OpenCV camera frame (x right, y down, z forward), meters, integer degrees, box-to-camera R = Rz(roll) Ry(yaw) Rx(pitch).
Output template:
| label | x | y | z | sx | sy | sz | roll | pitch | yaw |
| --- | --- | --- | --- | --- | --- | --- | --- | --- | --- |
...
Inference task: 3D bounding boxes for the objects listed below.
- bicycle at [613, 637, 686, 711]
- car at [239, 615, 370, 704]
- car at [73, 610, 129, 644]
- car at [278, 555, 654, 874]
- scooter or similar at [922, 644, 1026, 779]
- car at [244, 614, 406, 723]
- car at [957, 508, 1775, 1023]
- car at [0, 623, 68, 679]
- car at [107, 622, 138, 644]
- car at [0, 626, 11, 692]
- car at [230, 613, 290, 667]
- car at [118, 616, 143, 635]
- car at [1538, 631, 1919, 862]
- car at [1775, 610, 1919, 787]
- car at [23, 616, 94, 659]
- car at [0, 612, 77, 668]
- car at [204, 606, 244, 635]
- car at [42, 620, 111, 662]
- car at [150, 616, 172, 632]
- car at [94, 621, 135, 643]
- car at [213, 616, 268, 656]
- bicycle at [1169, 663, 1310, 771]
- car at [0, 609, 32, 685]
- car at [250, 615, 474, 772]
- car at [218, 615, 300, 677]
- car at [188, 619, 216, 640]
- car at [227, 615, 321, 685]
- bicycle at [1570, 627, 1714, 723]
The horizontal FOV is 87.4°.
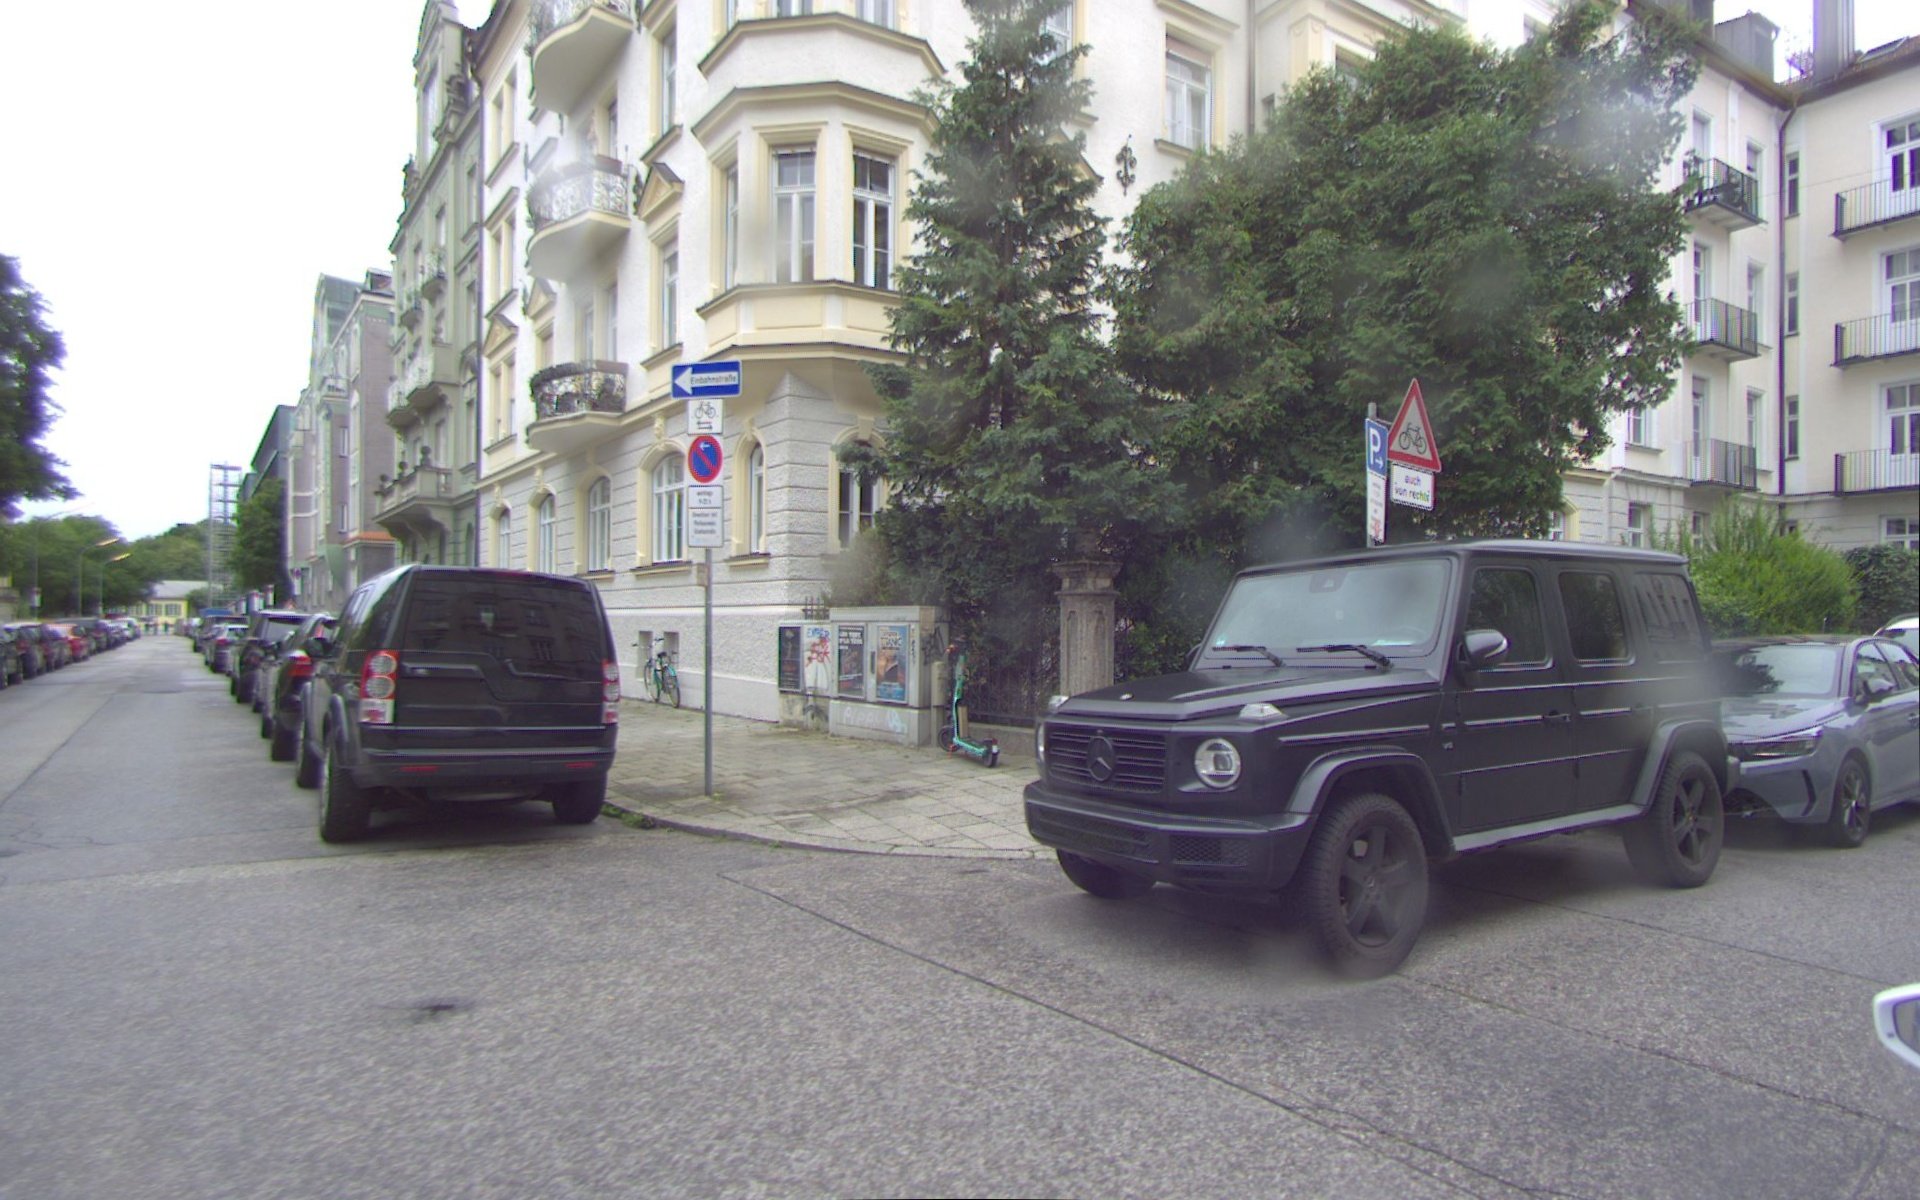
| label | x | y | z | sx | sy | sz | roll | pitch | yaw |
| --- | --- | --- | --- | --- | --- | --- | --- | --- | --- |
| bicycle | -5.403 | 1.249 | 17.414 | 0.533 | 1.161 | 1.935 | 1 | -1 | -39 |
| car | -13.515 | 1.181 | 20.598 | 1.917 | 1.616 | 4.197 | 4 | -4 | -37 |
| car | -44.758 | 1.387 | 52.395 | 1.815 | 1.706 | 4.198 | 1 | -1 | -35 |
| car | -4.323 | 0.722 | 8.349 | 2.036 | 1.882 | 4.474 | 0 | -1 | -37 |
| scooter or similar | 0.112 | 1.077 | 10.156 | 0.453 | 1.195 | 1.423 | -2 | 1 | -25 |
| car | -10.834 | 1.095 | 16.996 | 1.917 | 1.586 | 4.387 | 4 | -4 | -37 |
| car | 2.501 | 0.675 | 5.800 | 4.761 | 1.911 | 1.903 | 1 | -2 | -31 |
| car | -26.750 | 1.400 | 28.500 | 1.774 | 1.461 | 3.959 | 1 | -1 | -36 |
| car | -66.312 | 2.570 | 79.571 | 1.741 | 1.706 | 3.956 | 1 | -1 | -38 |
| car | -20.469 | 1.220 | 19.923 | 1.814 | 1.403 | 4.199 | 0 | -1 | -35 |
| car | -27.869 | 1.531 | 39.939 | 1.865 | 2.040 | 3.959 | 1 | -1 | -36 |
| car | -78.875 | 2.407 | 95.503 | 1.721 | 1.795 | 3.763 | 1 | -1 | -38 |
| car | 6.592 | 1.012 | 8.132 | 3.875 | 1.449 | 1.634 | 1 | -4 | -32 |
| car | 10.833 | 0.948 | 10.818 | 4.434 | 1.670 | 1.797 | 0 | -2 | -32 |
| car | -35.459 | 1.439 | 39.578 | 1.809 | 1.605 | 3.956 | 1 | -1 | -38 |
| car | -29.811 | 1.258 | 32.306 | 1.809 | 1.690 | 3.958 | 1 | -1 | -37 |
| car | -50.613 | 1.418 | 69.074 | 1.983 | 1.940 | 3.954 | 1 | -1 | -40 |
| car | -38.800 | 1.770 | 44.188 | 1.815 | 1.706 | 4.198 | 1 | -1 | -35 |
| car | -97.320 | 2.896 | 122.320 | 2.052 | 1.845 | 4.327 | 1 | -1 | -40 |
| car | -54.886 | 2.039 | 65.250 | 1.729 | 1.374 | 3.800 | 1 | -1 | -36 |
| car | -35.665 | 1.743 | 49.744 | 2.036 | 1.882 | 4.473 | 0 | -1 | -38 |
| bicycle | 2.931 | 1.187 | 10.482 | 1.619 | 0.964 | 0.447 | -1 | 1 | -33 |
| car | -23.318 | 1.063 | 23.509 | 1.814 | 1.706 | 4.198 | 0 | -1 | -35 |
| car | -7.638 | 1.035 | 12.599 | 1.916 | 1.586 | 4.474 | 3 | -3 | -37 |
| car | -23.063 | 1.486 | 32.987 | 2.036 | 1.882 | 4.474 | 2 | -2 | -37 |
| car | -75.172 | 2.923 | 99.575 | 1.984 | 2.040 | 3.952 | 1 | -1 | -41 |
| car | -19.996 | 1.410 | 29.187 | 2.036 | 1.882 | 4.474 | 2 | -2 | -37 |
| bicycle | 9.919 | 1.045 | 14.570 | 2.500 | 1.276 | 0.693 | 0 | -2 | -30 |
